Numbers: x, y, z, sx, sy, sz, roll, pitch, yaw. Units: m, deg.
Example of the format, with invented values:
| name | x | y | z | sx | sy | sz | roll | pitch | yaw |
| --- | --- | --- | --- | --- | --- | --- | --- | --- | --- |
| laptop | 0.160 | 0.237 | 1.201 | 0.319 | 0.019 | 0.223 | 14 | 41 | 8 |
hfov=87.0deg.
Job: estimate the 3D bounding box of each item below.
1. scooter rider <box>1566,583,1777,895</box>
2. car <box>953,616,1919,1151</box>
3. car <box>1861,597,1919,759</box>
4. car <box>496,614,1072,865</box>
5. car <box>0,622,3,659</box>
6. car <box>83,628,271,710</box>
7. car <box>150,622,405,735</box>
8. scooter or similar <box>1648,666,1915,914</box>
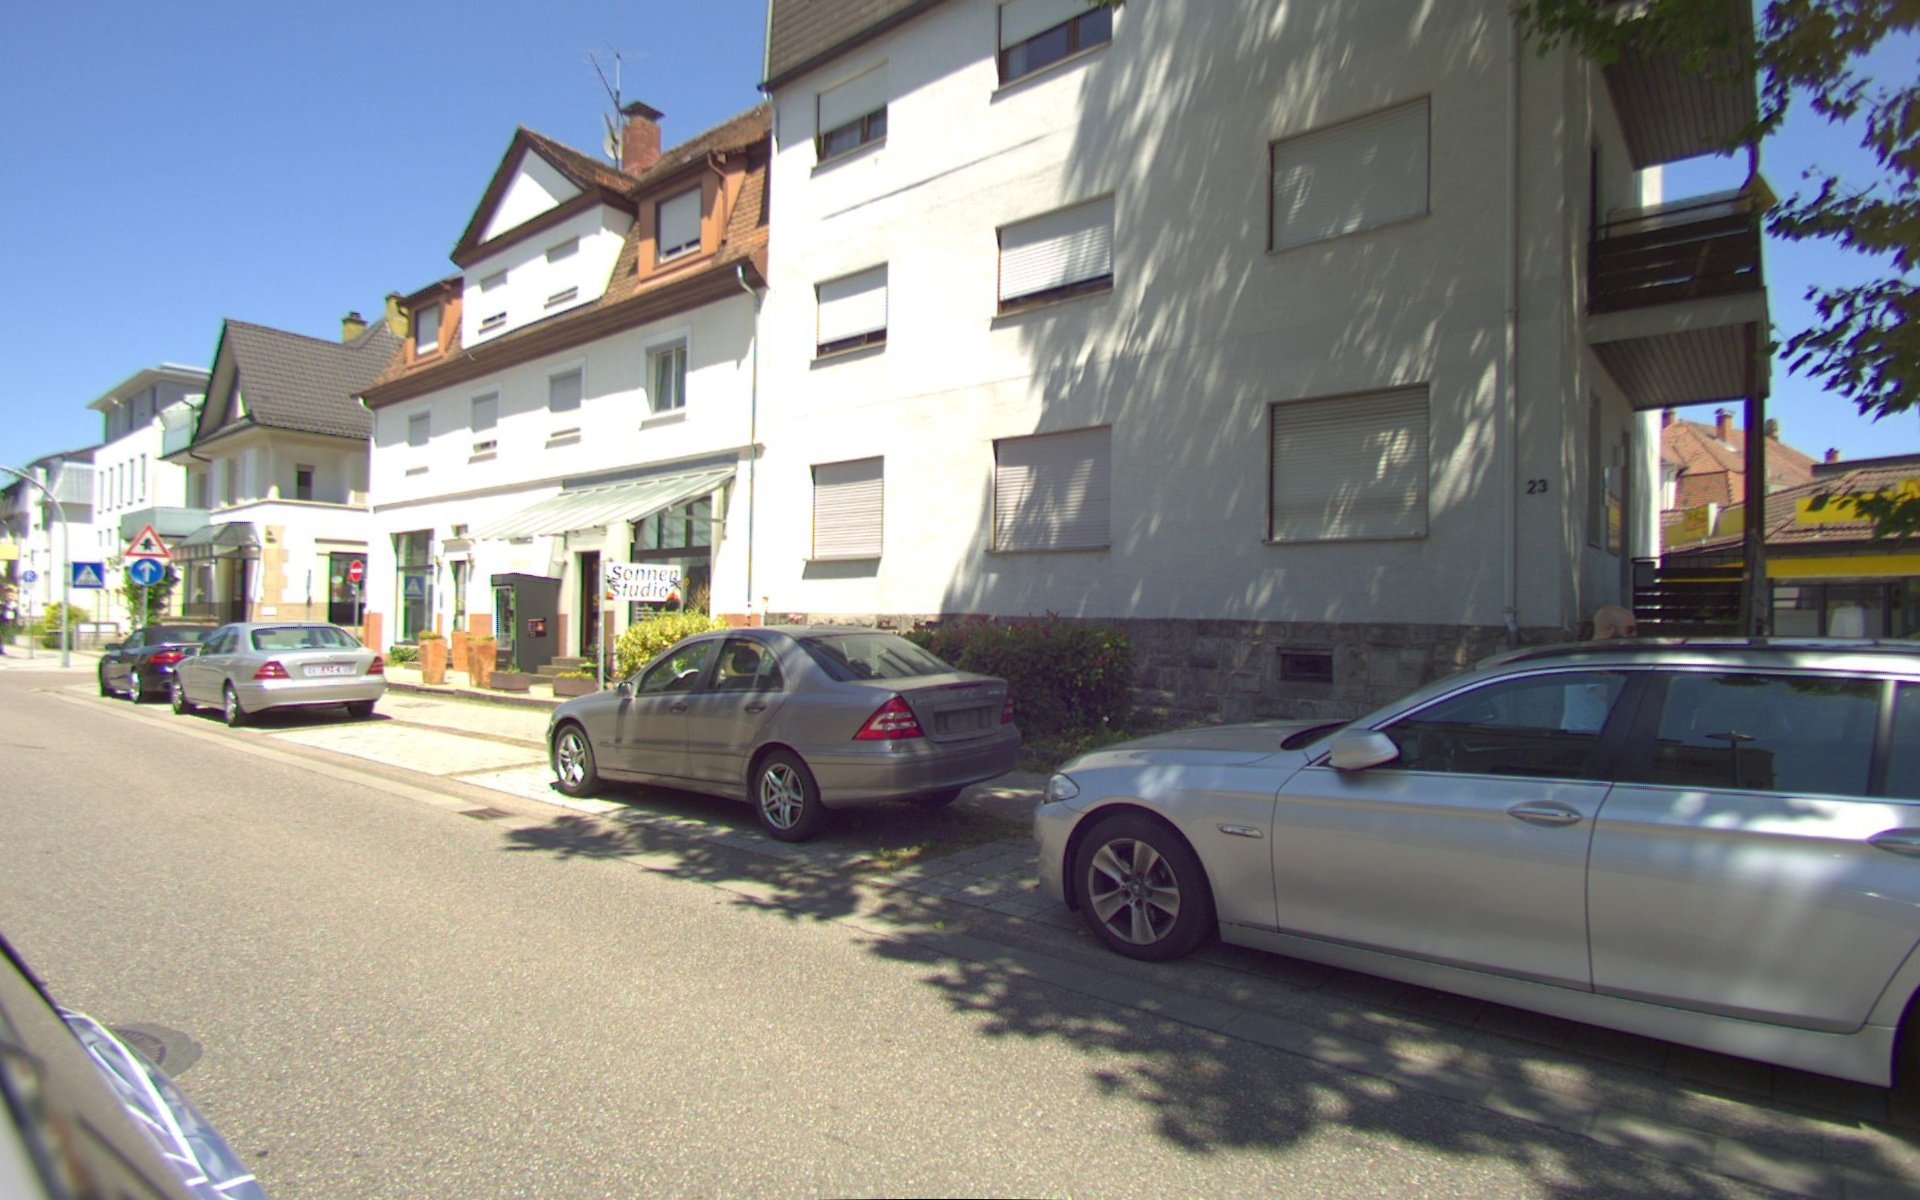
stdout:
| name | x | y | z | sx | sy | sz | roll | pitch | yaw |
| --- | --- | --- | --- | --- | --- | --- | --- | --- | --- |
| scooter rider | 3.976 | 0.713 | 5.665 | 0.877 | 1.587 | 0.582 | -2 | 0 | 41 |
| car | 2.568 | 0.811 | 4.139 | 5.145 | 1.463 | 1.961 | -1 | -1 | 39 |
| car | 10.913 | 0.742 | 8.953 | 1.783 | 1.557 | 4.114 | 2 | -3 | -37 |
| car | -1.663 | 0.872 | 8.262 | 4.863 | 1.463 | 1.961 | -1 | -1 | 39 |
| car | -40.944 | 1.674 | 41.545 | 5.146 | 1.463 | 1.897 | -1 | 1 | 41 |
| car | -15.304 | 1.235 | 19.661 | 5.095 | 1.384 | 1.922 | -1 | -2 | 41 |
| car | -10.712 | 1.084 | 15.700 | 5.354 | 1.463 | 1.960 | -1 | -1 | 41 |
| scooter or similar | 4.327 | 0.934 | 5.370 | 1.028 | 1.106 | 0.656 | -2 | -1 | 42 |
